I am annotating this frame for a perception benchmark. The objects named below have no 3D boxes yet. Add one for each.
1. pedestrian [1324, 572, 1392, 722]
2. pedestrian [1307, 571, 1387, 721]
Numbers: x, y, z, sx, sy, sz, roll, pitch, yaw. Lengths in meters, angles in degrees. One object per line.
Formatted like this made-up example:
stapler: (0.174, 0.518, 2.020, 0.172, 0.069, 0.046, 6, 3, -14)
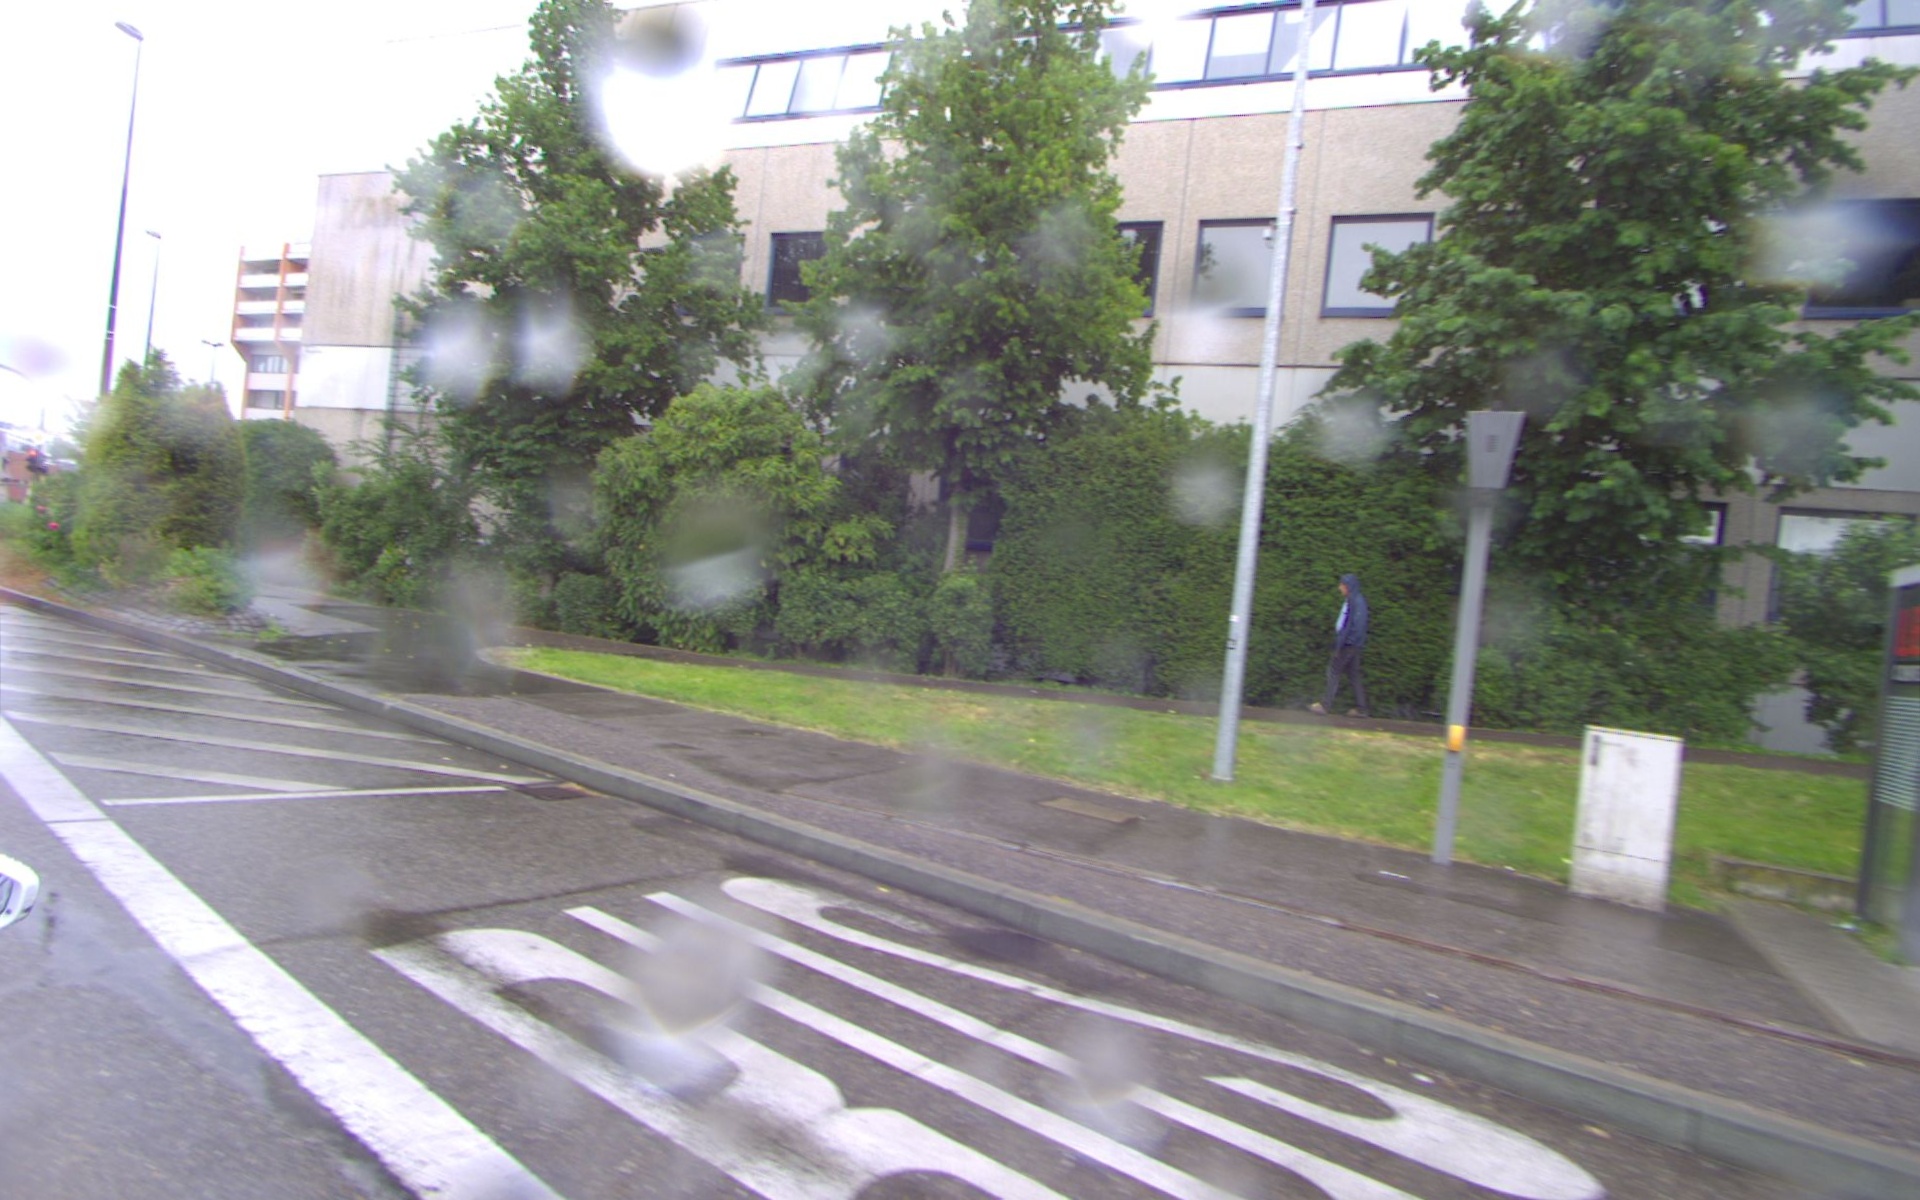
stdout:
pedestrian: (5.053, 0.595, 12.796, 0.661, 1.819, 0.674, 4, -1, 21)
pedestrian: (5.030, 0.594, 13.047, 0.782, 1.817, 0.849, 5, -1, 23)
